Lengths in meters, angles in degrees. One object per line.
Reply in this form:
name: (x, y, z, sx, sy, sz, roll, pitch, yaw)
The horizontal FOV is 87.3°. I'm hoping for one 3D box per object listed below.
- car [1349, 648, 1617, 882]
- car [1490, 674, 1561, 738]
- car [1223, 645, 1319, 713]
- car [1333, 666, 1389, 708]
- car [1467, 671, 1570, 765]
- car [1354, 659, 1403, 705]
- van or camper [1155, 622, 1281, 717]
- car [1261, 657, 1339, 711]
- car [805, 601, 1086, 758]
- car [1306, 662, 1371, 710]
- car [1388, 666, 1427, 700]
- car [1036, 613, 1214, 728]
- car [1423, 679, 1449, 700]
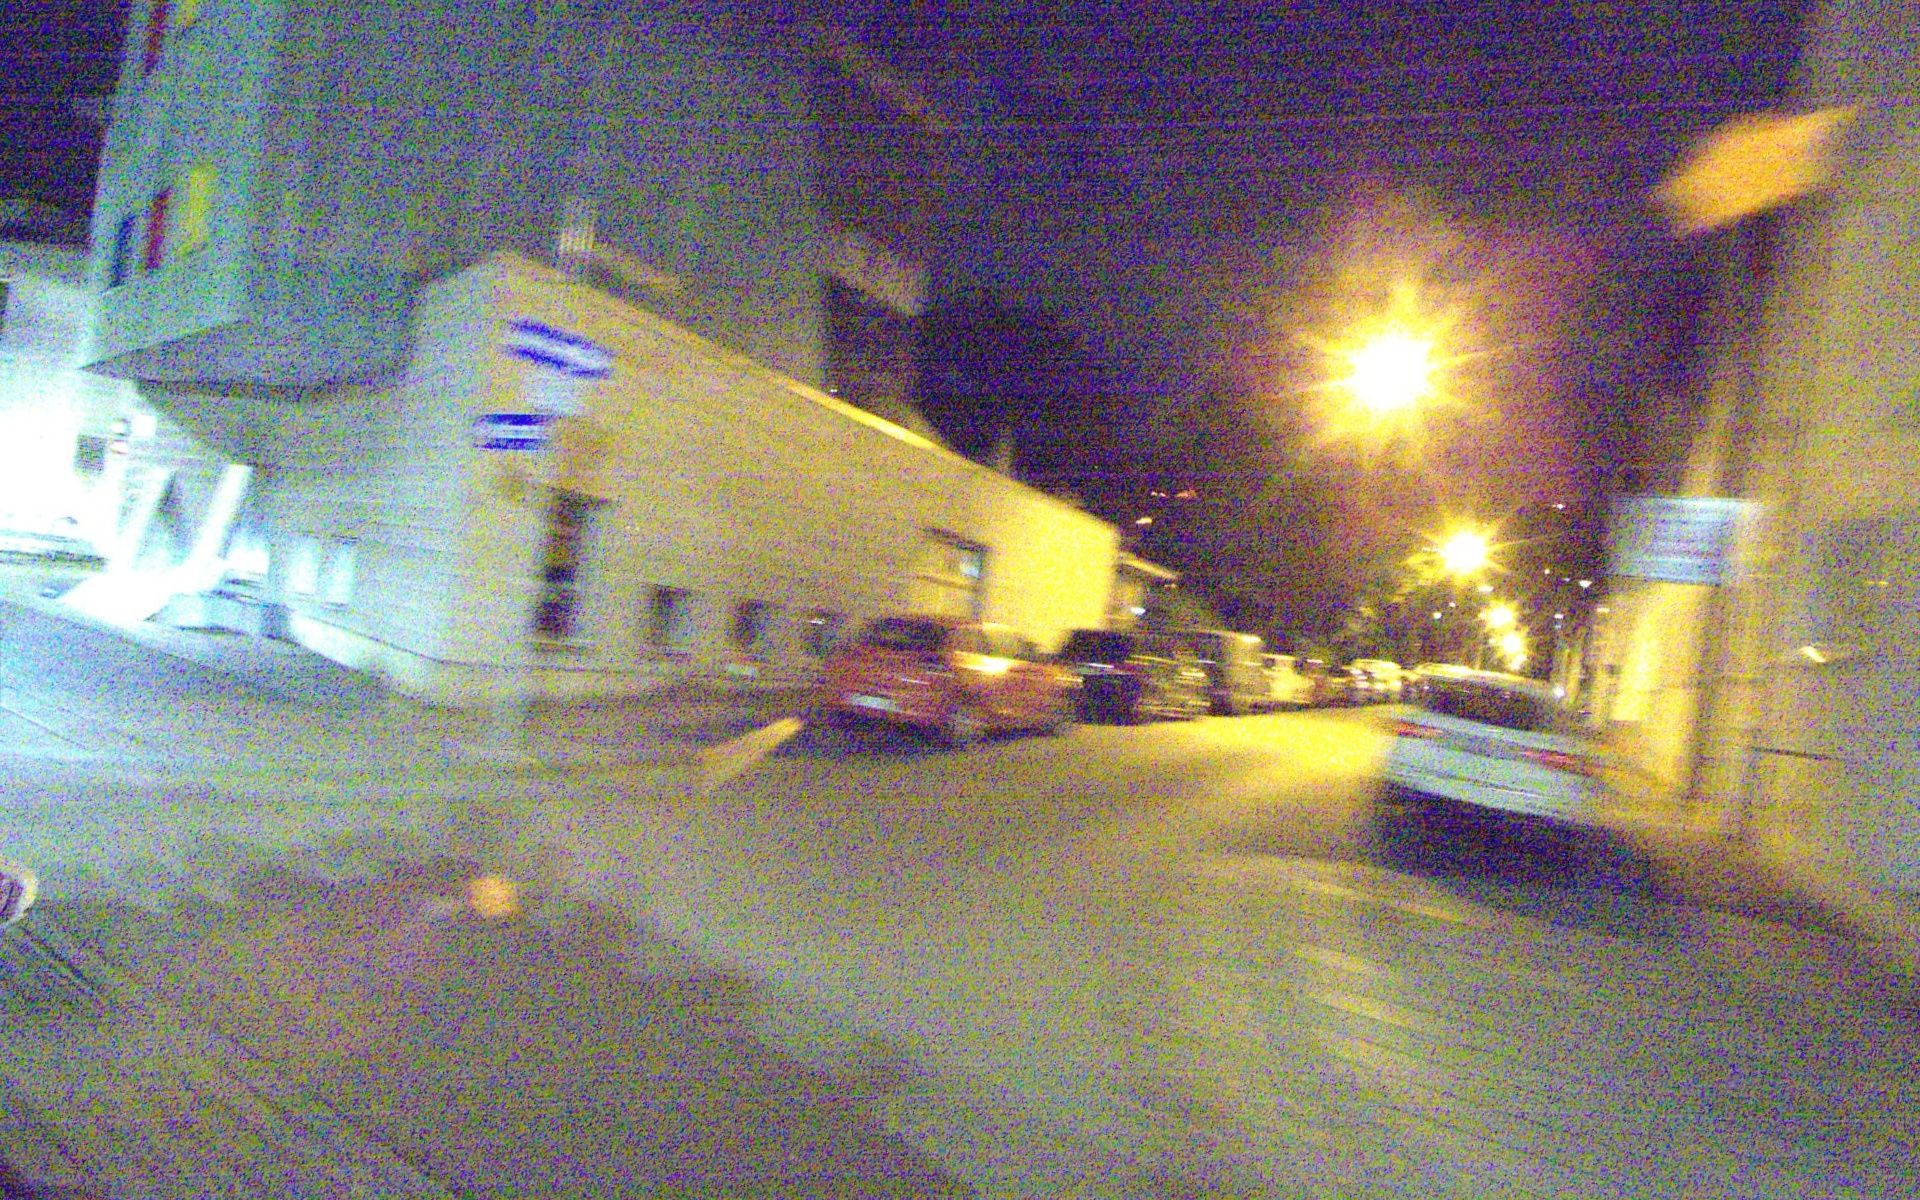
car: (5.623, 1.554, 10.633, 1.868, 1.659, 4.311, 9, 1, 32)
car: (18.746, 3.458, 33.268, 1.669, 1.686, 4.208, 11, 2, 32)
car: (8.541, 2.187, 27.507, 1.634, 1.518, 3.267, 8, -1, 31)
car: (16.154, 3.446, 40.462, 1.539, 1.519, 3.263, 2, -2, 31)
car: (12.948, 2.657, 23.200, 1.669, 1.686, 3.940, 11, 2, 32)
car: (18.704, 3.619, 44.892, 1.539, 1.872, 3.263, 2, -2, 31)
van or camper: (5.828, 1.584, 22.477, 1.634, 1.775, 3.571, 7, -1, 31)
car: (10.710, 2.591, 31.566, 1.635, 1.519, 3.263, 2, -2, 31)
car: (-0.027, 0.919, 12.358, 1.697, 1.460, 3.617, 7, 1, 31)
car: (13.368, 2.978, 35.453, 1.539, 1.519, 3.263, 2, -2, 31)
car: (24.402, 4.489, 54.783, 1.539, 1.714, 3.263, 2, -2, 31)
car: (2.997, 1.243, 17.569, 1.634, 1.607, 3.858, 7, -1, 31)
car: (33.557, 6.284, 70.858, 1.292, 1.188, 2.610, 8, 1, 31)
